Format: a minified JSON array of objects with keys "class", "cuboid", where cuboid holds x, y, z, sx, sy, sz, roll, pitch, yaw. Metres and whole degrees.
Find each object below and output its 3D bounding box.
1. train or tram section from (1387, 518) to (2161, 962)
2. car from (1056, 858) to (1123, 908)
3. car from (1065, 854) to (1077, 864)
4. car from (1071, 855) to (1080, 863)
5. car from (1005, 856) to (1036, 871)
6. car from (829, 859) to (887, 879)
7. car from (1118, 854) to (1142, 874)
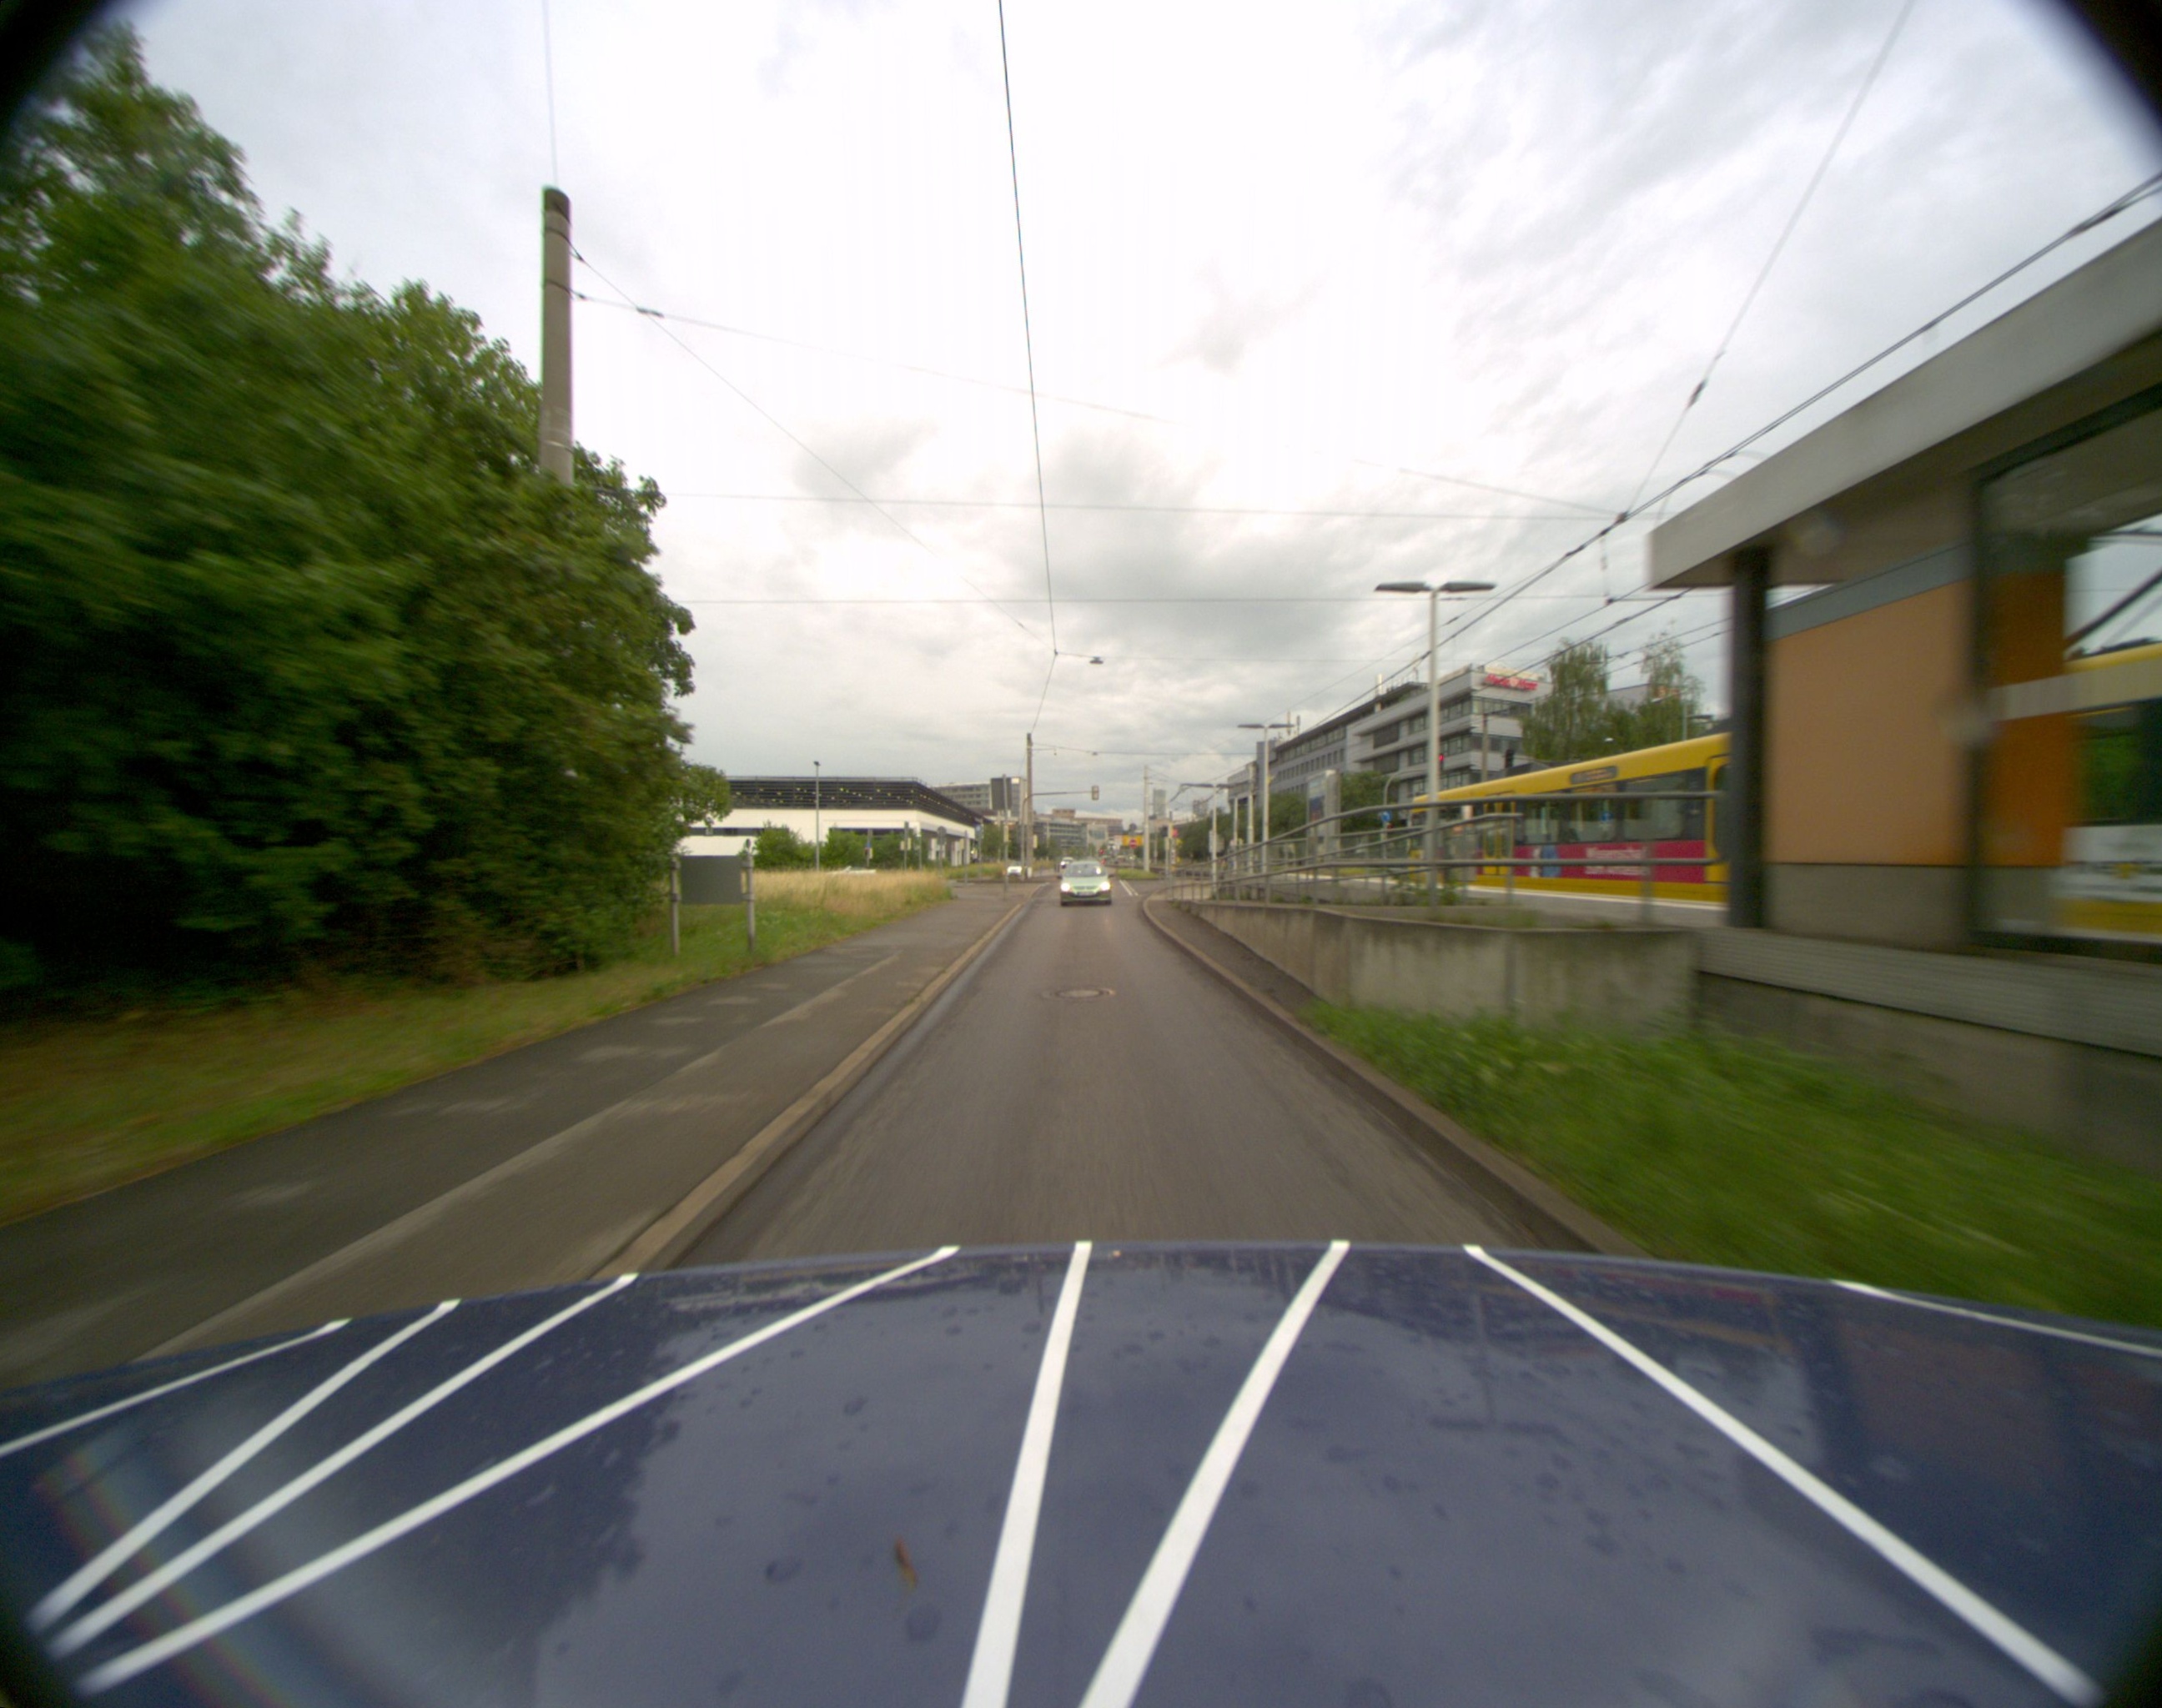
[{"class":"train or tram section","cuboid":[11.377,-1.128,15.583,2.875,3.950,19.331,-2,0,2]},{"class":"car","cuboid":[0.382,0.953,26.733,1.779,1.493,4.002,1,1,9]},{"class":"car","cuboid":[-1.607,0.735,123.430,1.993,1.531,4.109,-1,0,0]},{"class":"car","cuboid":[-0.990,0.936,147.109,1.702,1.429,3.965,0,0,0]},{"class":"car","cuboid":[-6.247,0.967,79.491,1.991,1.531,4.114,-1,0,14]},{"class":"car","cuboid":[-18.143,1.221,61.920,4.117,1.531,2.036,-1,0,-36]},{"class":"car","cuboid":[4.241,0.805,65.665,1.998,1.562,4.001,-2,0,4]}]
